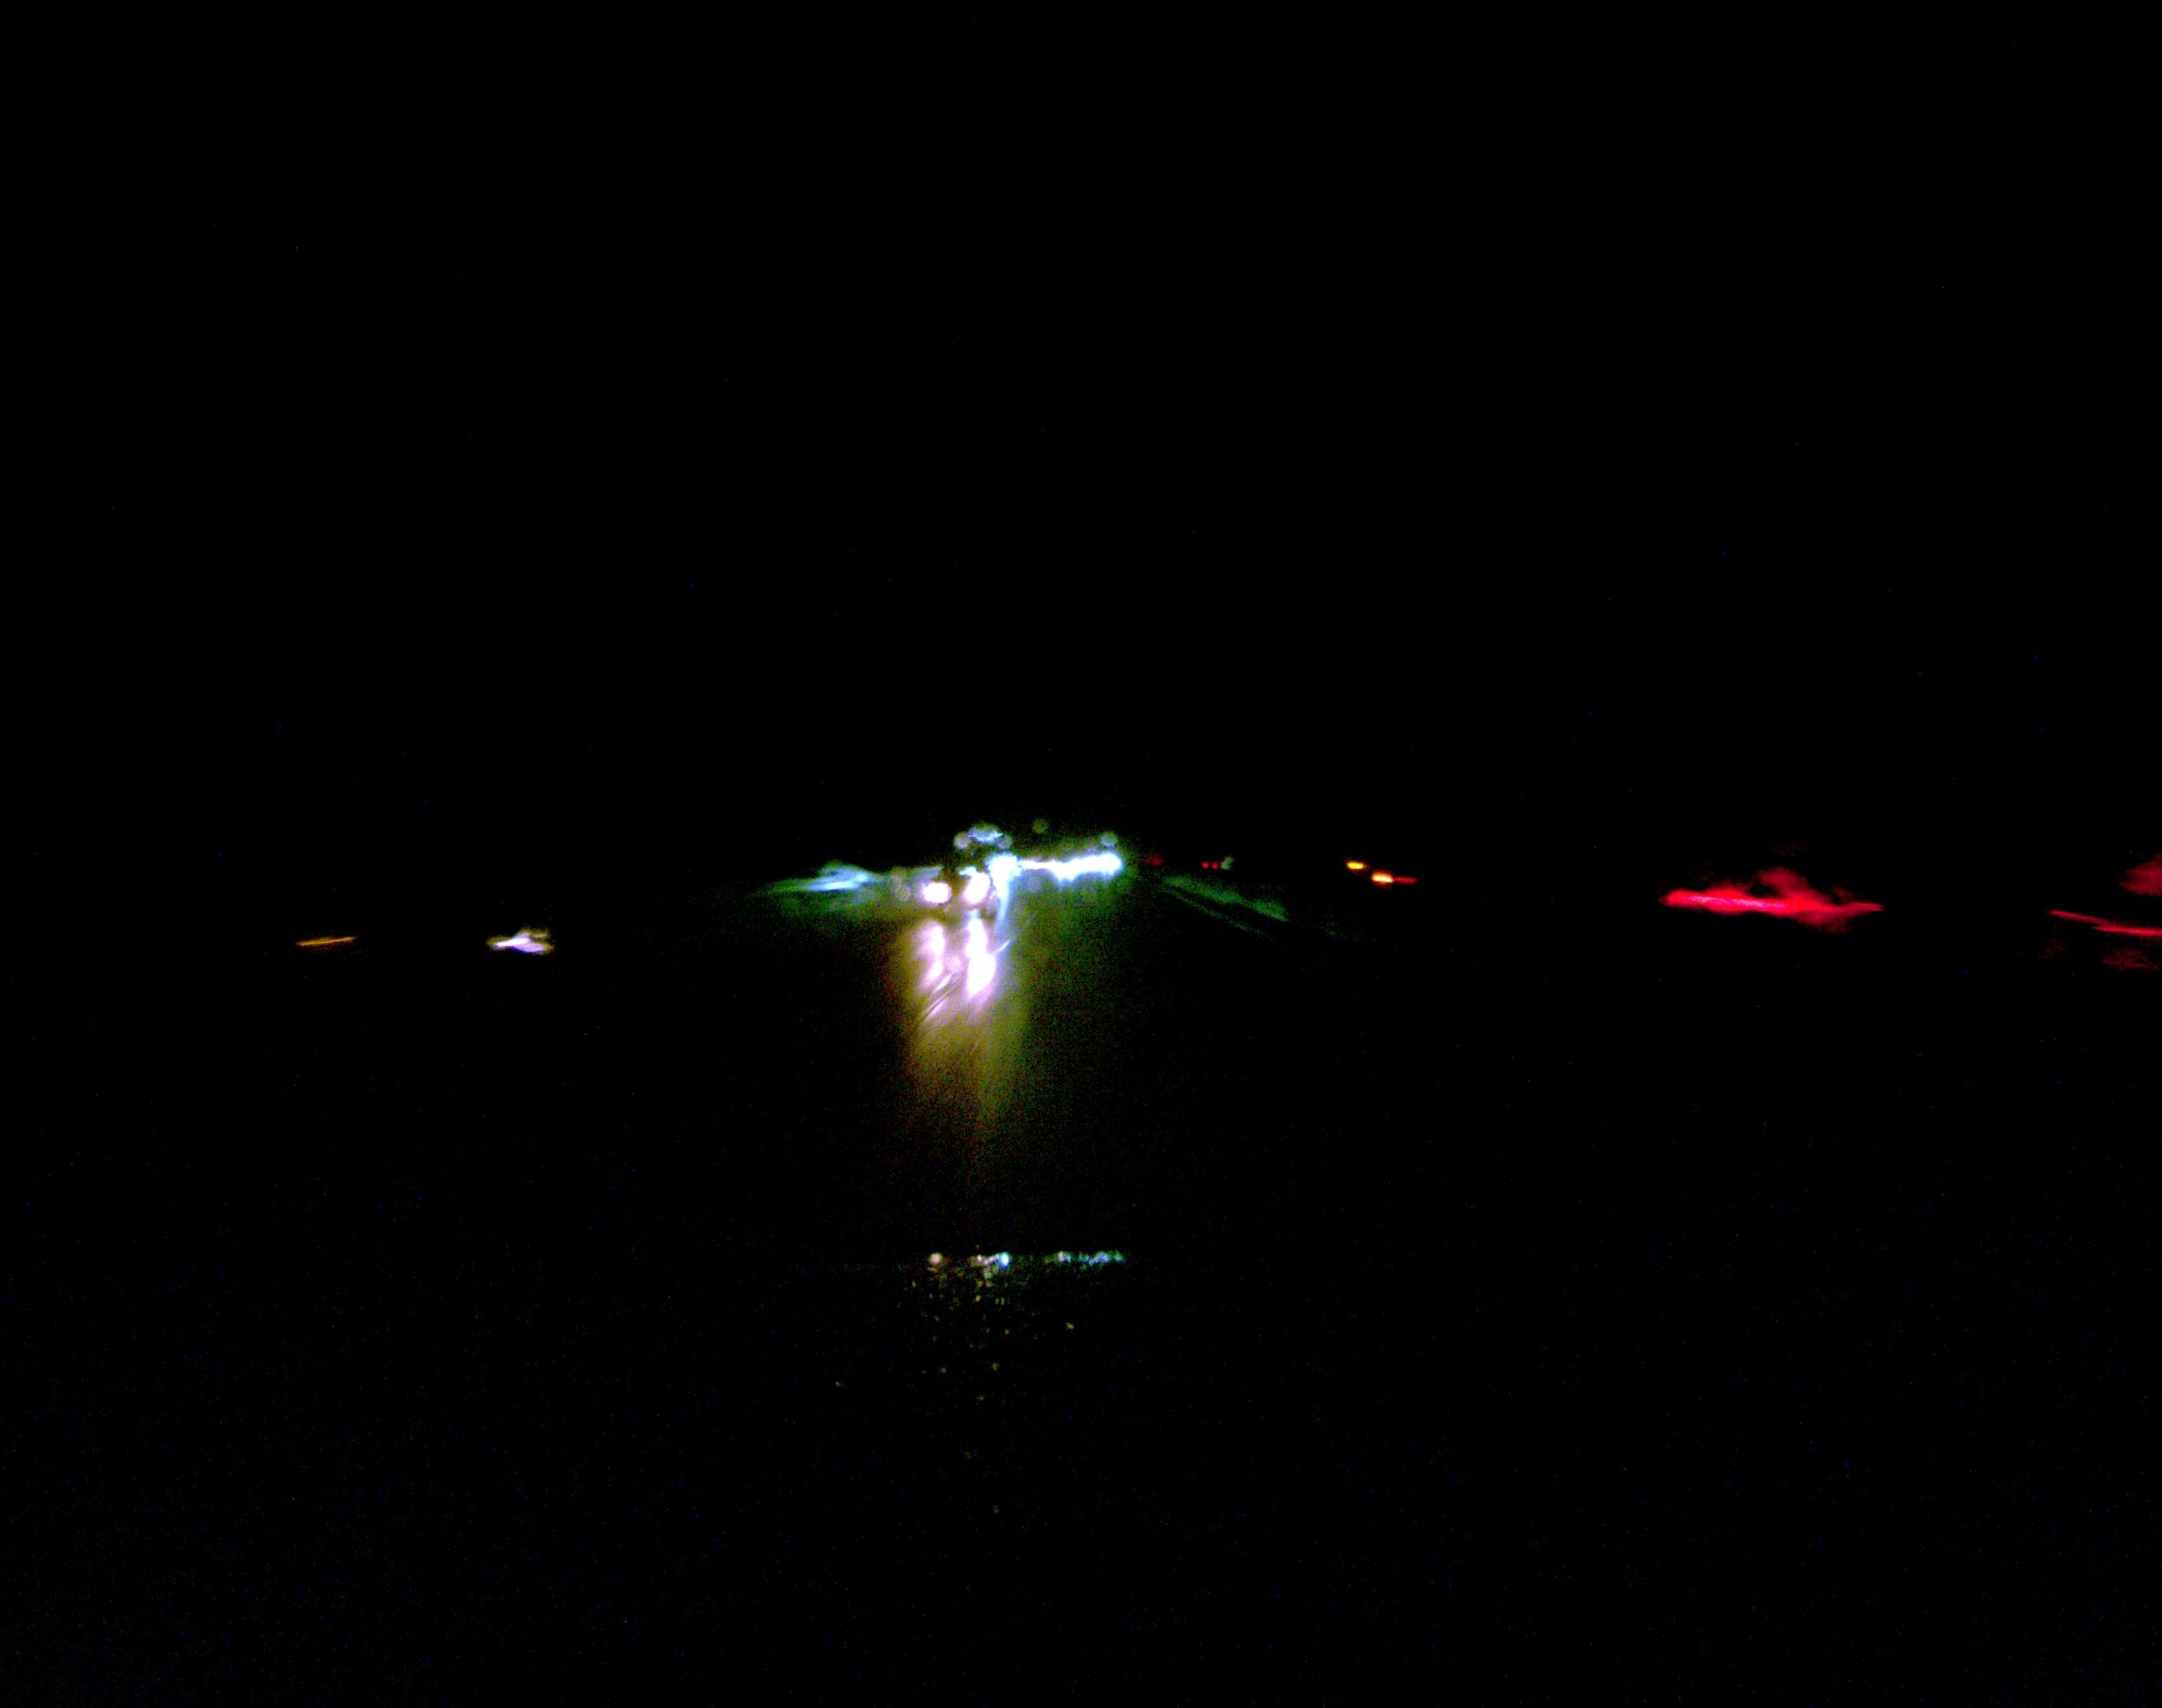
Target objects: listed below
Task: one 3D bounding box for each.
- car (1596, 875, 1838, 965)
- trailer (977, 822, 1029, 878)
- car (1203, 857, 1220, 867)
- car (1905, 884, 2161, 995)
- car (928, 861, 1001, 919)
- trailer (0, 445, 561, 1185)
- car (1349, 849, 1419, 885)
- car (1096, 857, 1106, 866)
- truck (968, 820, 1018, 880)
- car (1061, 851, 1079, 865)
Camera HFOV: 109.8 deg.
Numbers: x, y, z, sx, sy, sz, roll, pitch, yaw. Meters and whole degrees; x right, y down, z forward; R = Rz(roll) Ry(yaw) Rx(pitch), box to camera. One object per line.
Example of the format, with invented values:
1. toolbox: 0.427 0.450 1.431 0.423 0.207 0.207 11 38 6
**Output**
1. car: 12.532 1.216 15.330 1.738 1.499 3.795 1 0 1
2. trailer: -6.381 -0.316 63.938 2.753 4.168 11.179 -3 0 1
3. car: 19.676 1.197 114.603 1.786 1.471 4.509 1 0 1
4. car: 16.645 1.318 12.453 1.695 1.499 4.272 1 0 1
5. car: -3.428 1.027 23.011 1.619 1.494 3.767 -2 1 -1
6. trailer: -7.435 -0.159 1.584 2.872 4.074 13.640 -2 1 1
7. car: 22.000 0.920 55.578 2.387 2.429 7.024 1 0 1
8. car: 3.326 1.296 127.794 1.619 1.452 3.767 -2 1 1
9. truck: -6.528 -0.270 57.362 2.778 4.168 6.016 -3 0 1
10. car: -1.291 0.483 89.705 1.945 1.521 4.000 -2 1 1
